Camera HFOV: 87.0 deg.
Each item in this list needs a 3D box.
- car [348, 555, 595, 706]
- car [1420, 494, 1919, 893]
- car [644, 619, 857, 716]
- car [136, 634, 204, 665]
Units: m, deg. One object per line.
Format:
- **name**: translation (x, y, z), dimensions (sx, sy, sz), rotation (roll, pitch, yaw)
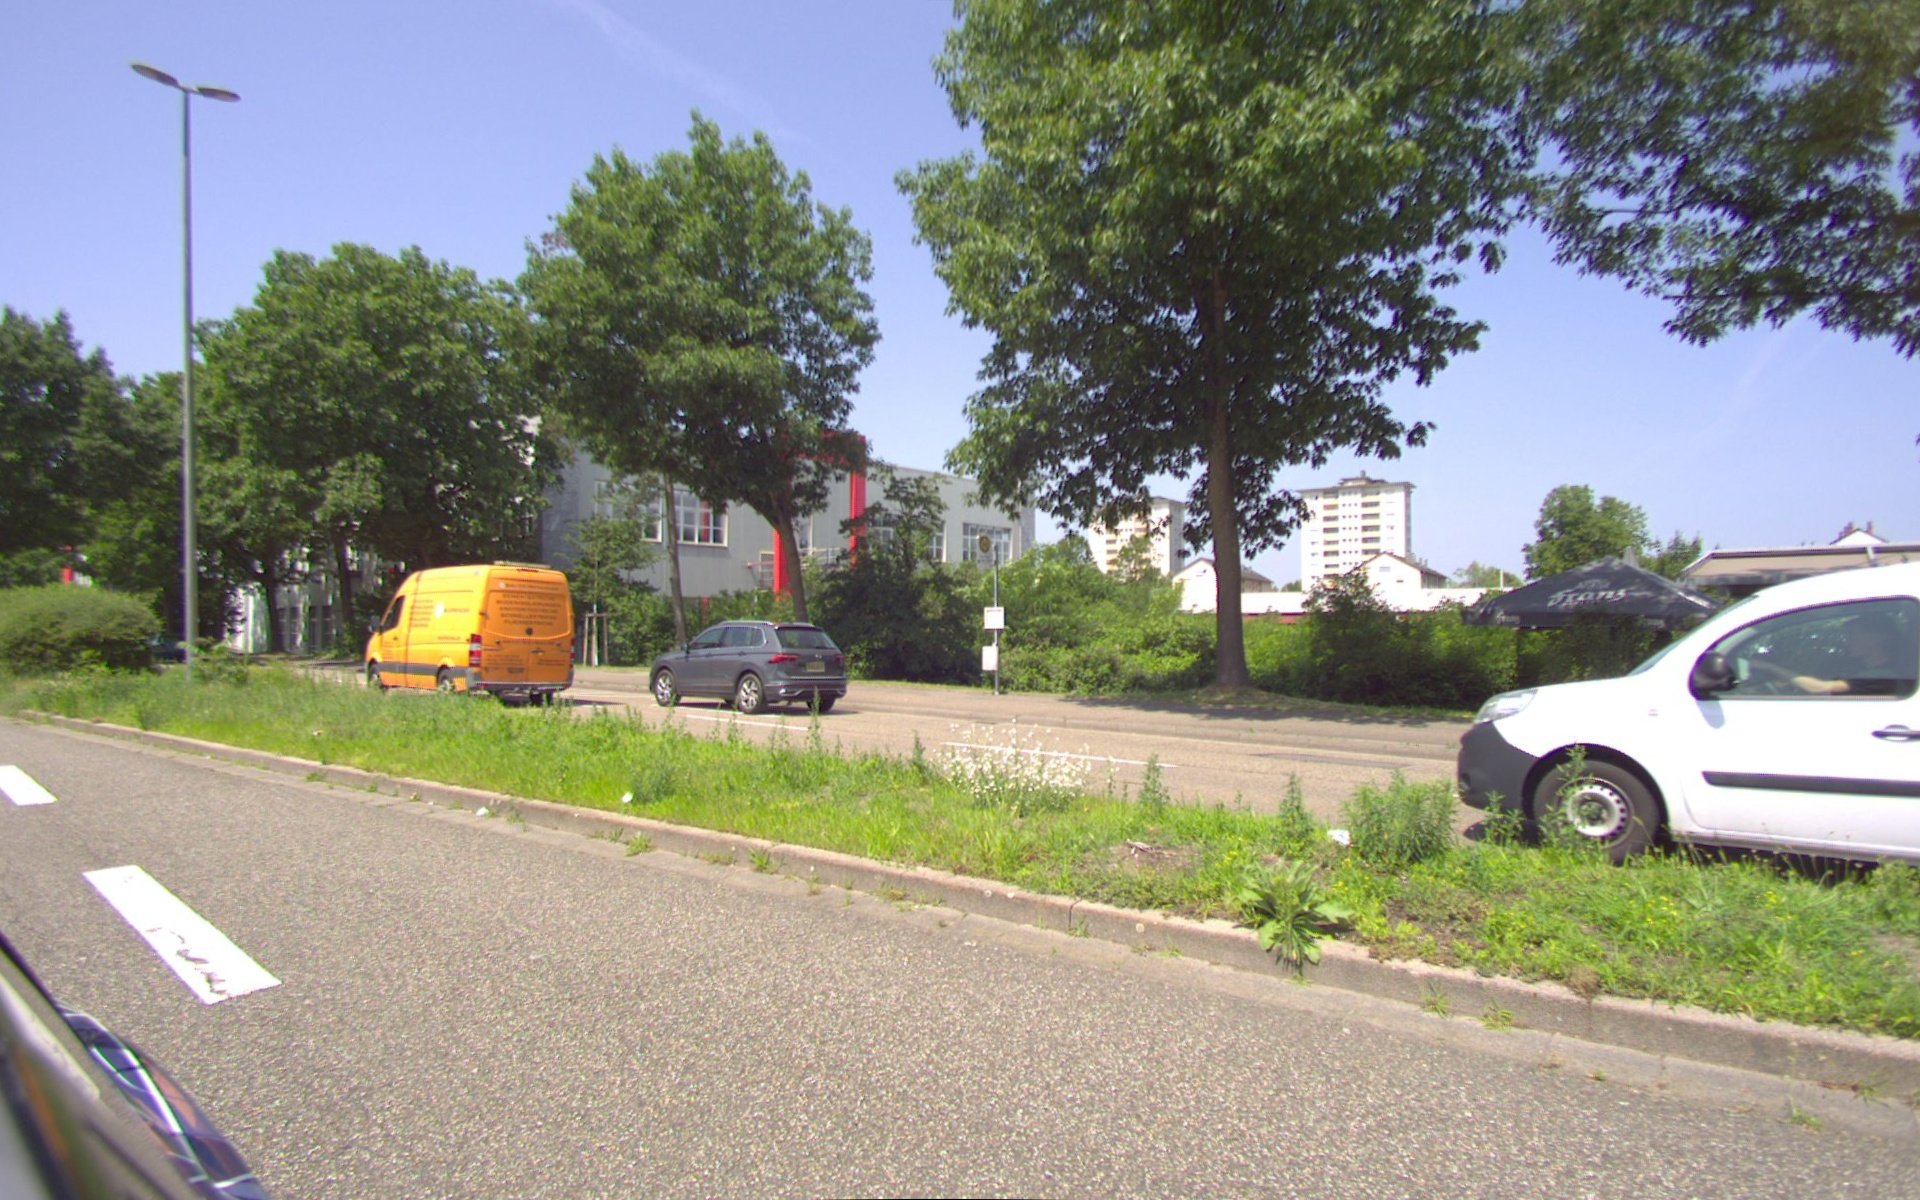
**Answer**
- **car**: translation (-9.899, 0.656, 20.231), dimensions (6.055, 2.587, 2.241), rotation (-2, -4, 42)
- **car**: translation (5.167, 0.508, 5.626), dimensions (4.423, 1.920, 1.832), rotation (-2, -5, 41)
- **car**: translation (-3.987, 1.227, 18.892), dimensions (4.212, 1.616, 1.697), rotation (-2, -5, 42)
- **car**: translation (-38.480, 2.401, 49.232), dimensions (4.585, 1.398, 1.668), rotation (-2, -5, 41)
